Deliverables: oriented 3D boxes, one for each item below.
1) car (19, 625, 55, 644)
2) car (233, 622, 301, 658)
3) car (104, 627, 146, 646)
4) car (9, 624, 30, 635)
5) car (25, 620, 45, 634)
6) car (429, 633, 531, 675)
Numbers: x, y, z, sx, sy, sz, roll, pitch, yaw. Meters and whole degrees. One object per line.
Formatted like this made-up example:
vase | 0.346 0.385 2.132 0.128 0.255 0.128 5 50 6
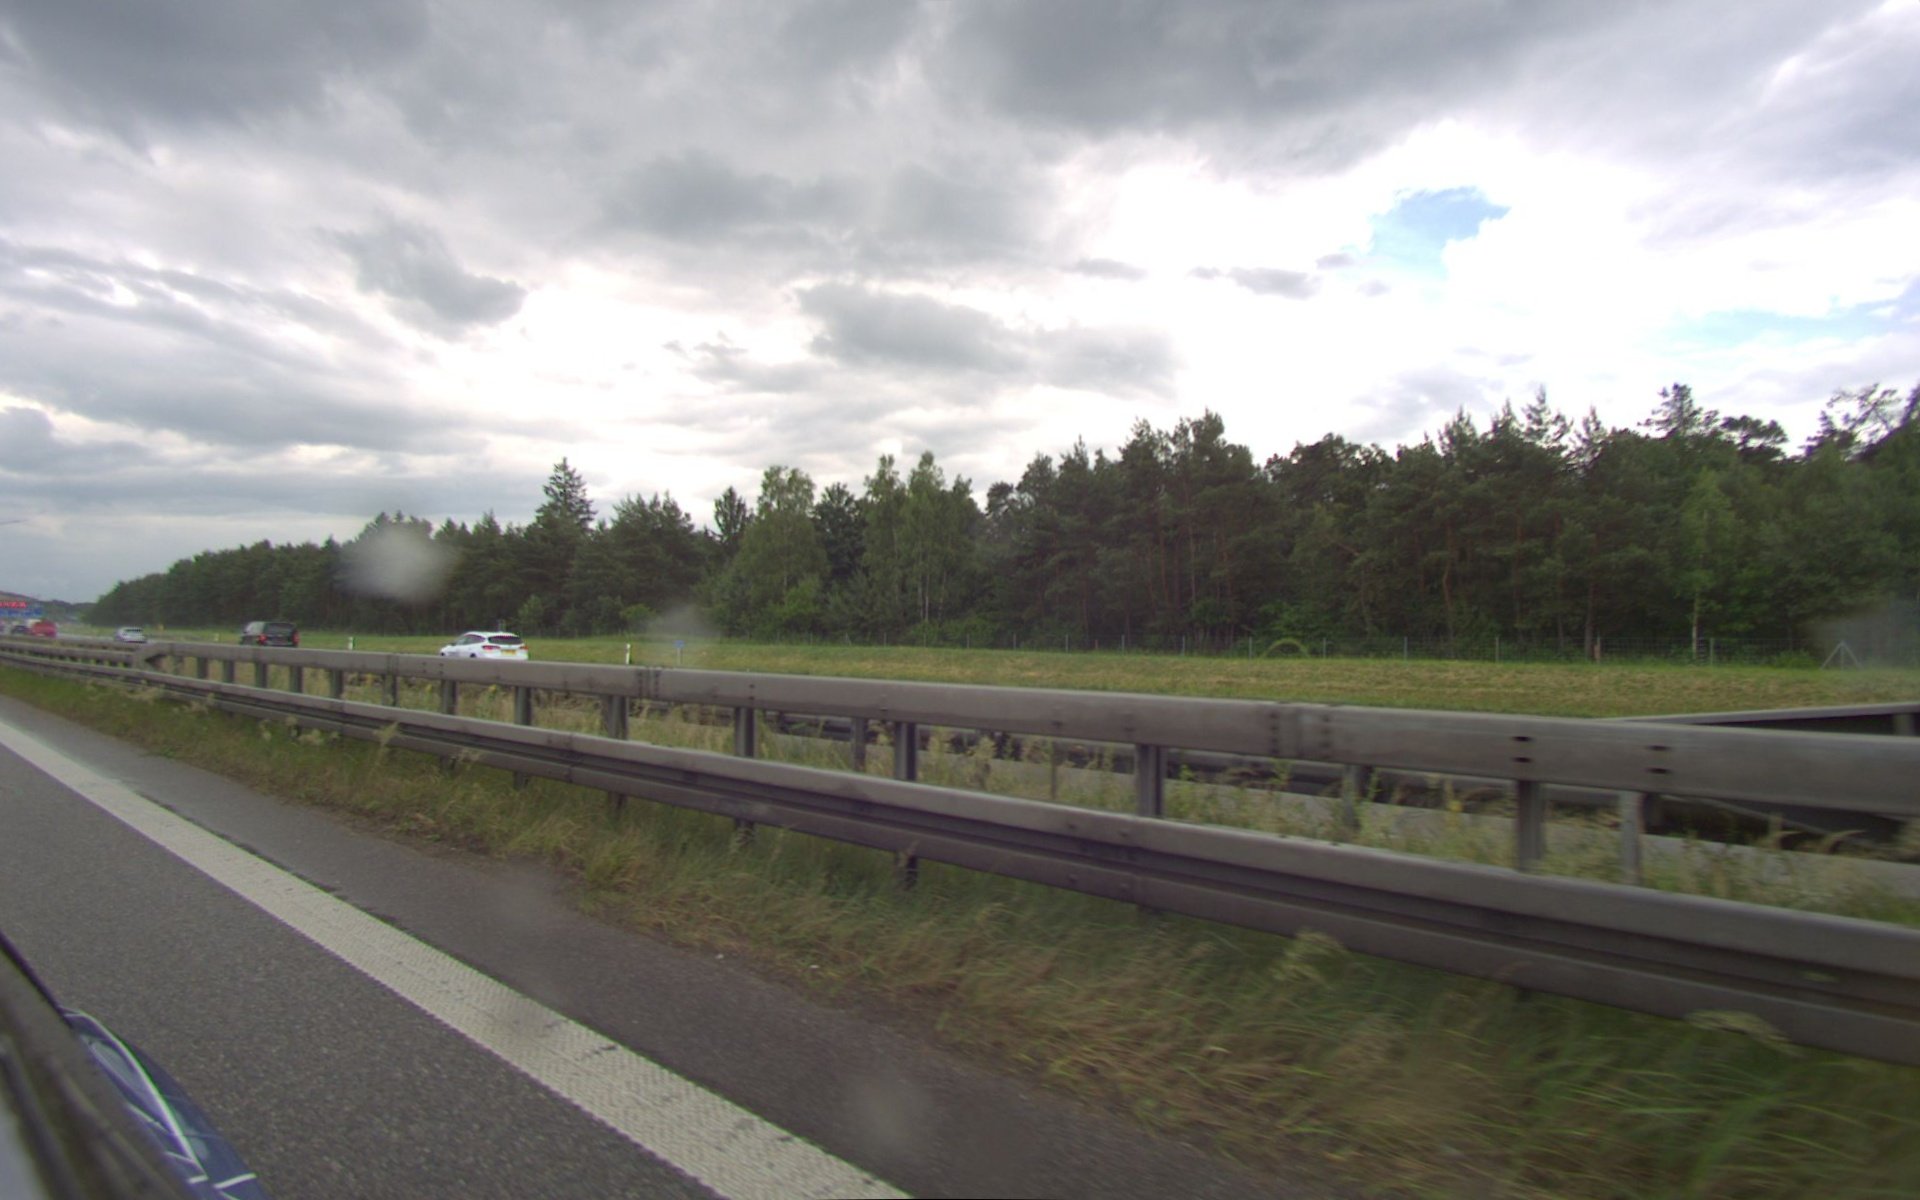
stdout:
car | -85.269 3.180 93.478 4.607 1.621 1.972 -1 -1 42
car | -38.840 2.234 56.700 4.722 1.931 1.972 -1 -4 41
car | -69.113 2.991 83.732 4.607 1.512 1.972 -1 -3 42
car | -142.336 4.467 153.218 3.998 1.483 1.855 -1 -3 41
car | -166.210 4.874 181.798 6.583 2.530 2.075 -1 -3 43
car | -18.041 2.003 37.999 4.318 1.456 1.830 -1 -3 40
